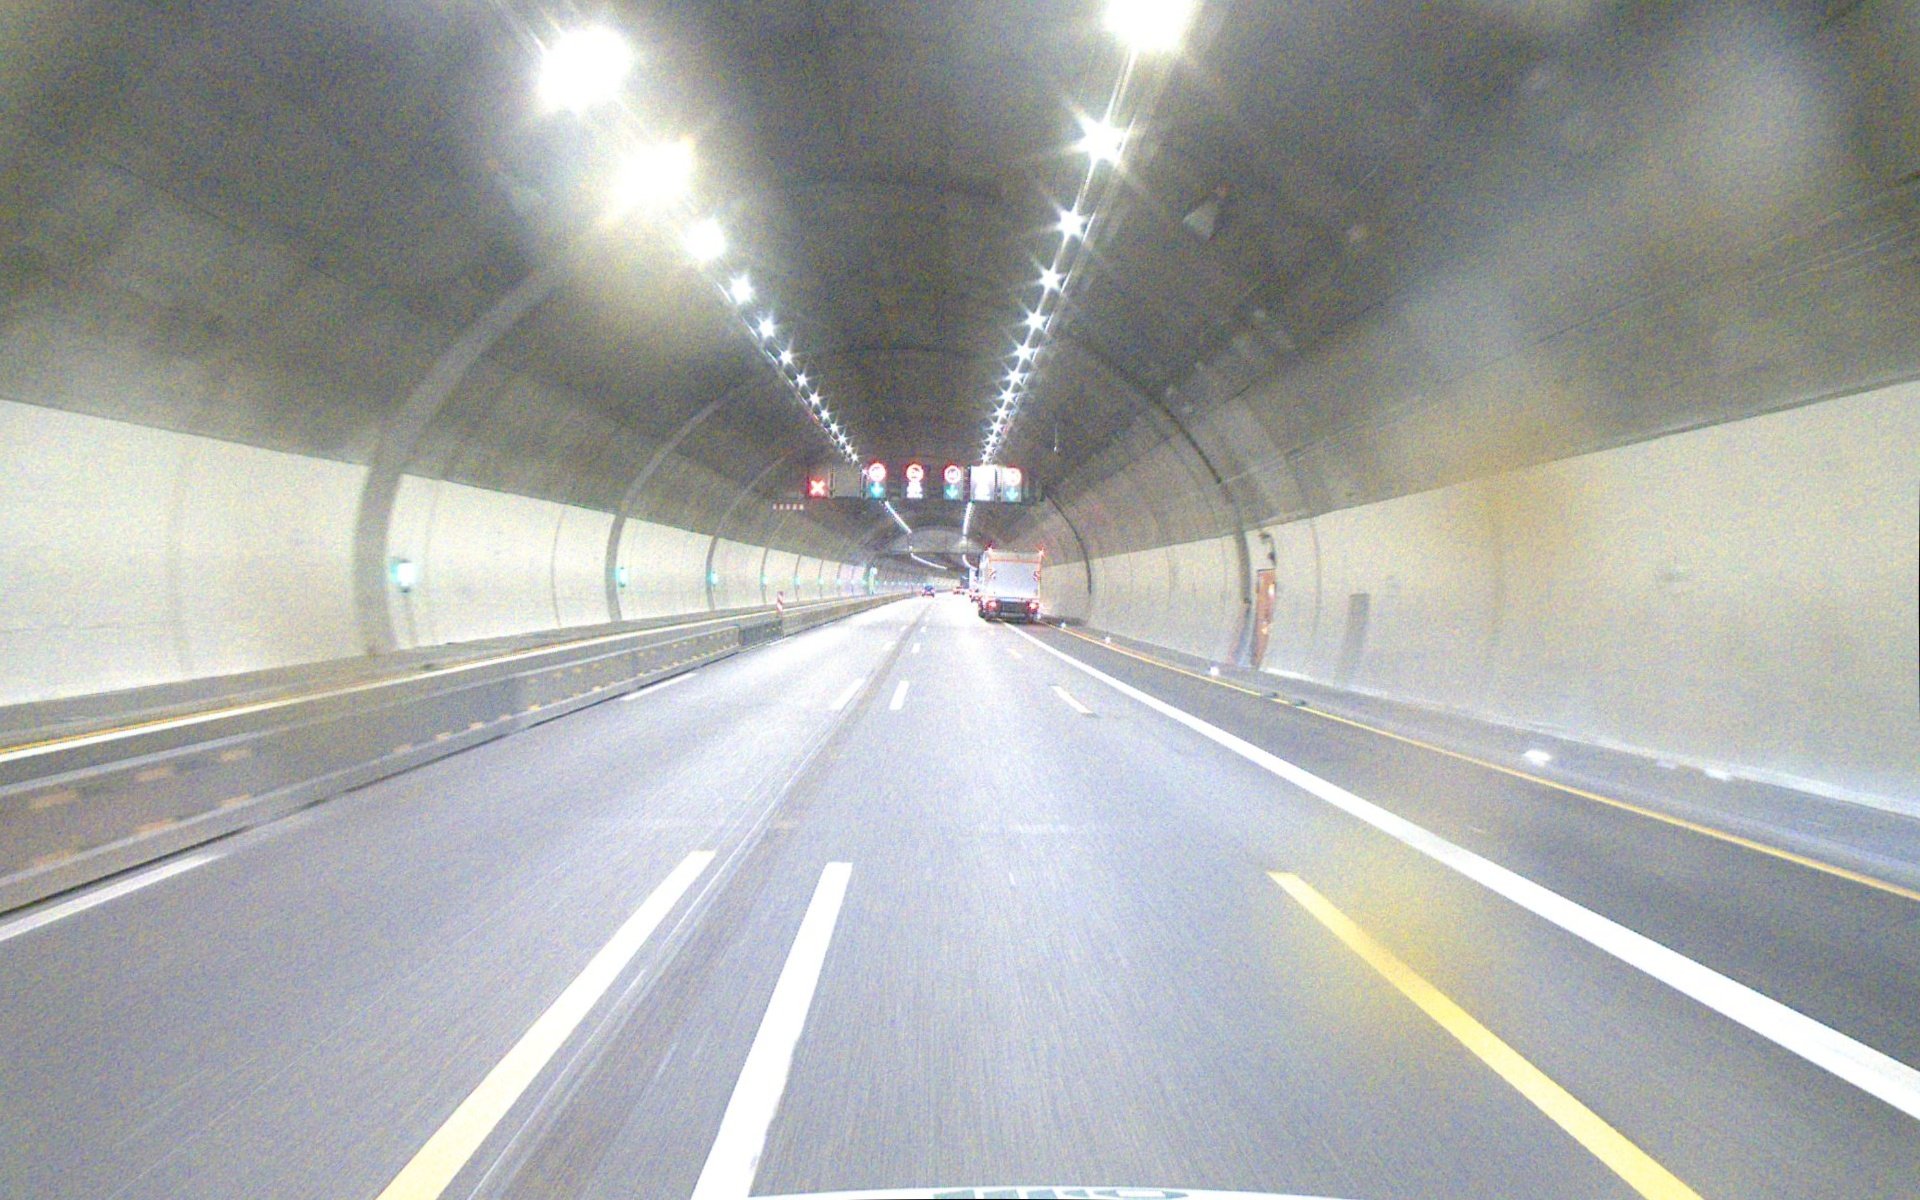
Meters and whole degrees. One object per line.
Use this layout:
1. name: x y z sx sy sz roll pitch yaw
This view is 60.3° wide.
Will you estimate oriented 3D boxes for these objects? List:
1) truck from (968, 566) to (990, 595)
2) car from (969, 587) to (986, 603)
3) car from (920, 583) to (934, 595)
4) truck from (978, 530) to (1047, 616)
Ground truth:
1. truck: 2.814 -2.730 240.078 3.003 3.986 10.369 1 0 1
2. car: 1.826 -0.531 171.729 1.703 1.486 3.961 1 1 1
3. car: -4.176 -1.394 208.365 1.723 1.486 4.119 1 1 0
4. truck: 2.512 -1.249 82.721 3.029 3.986 10.367 1 0 0
